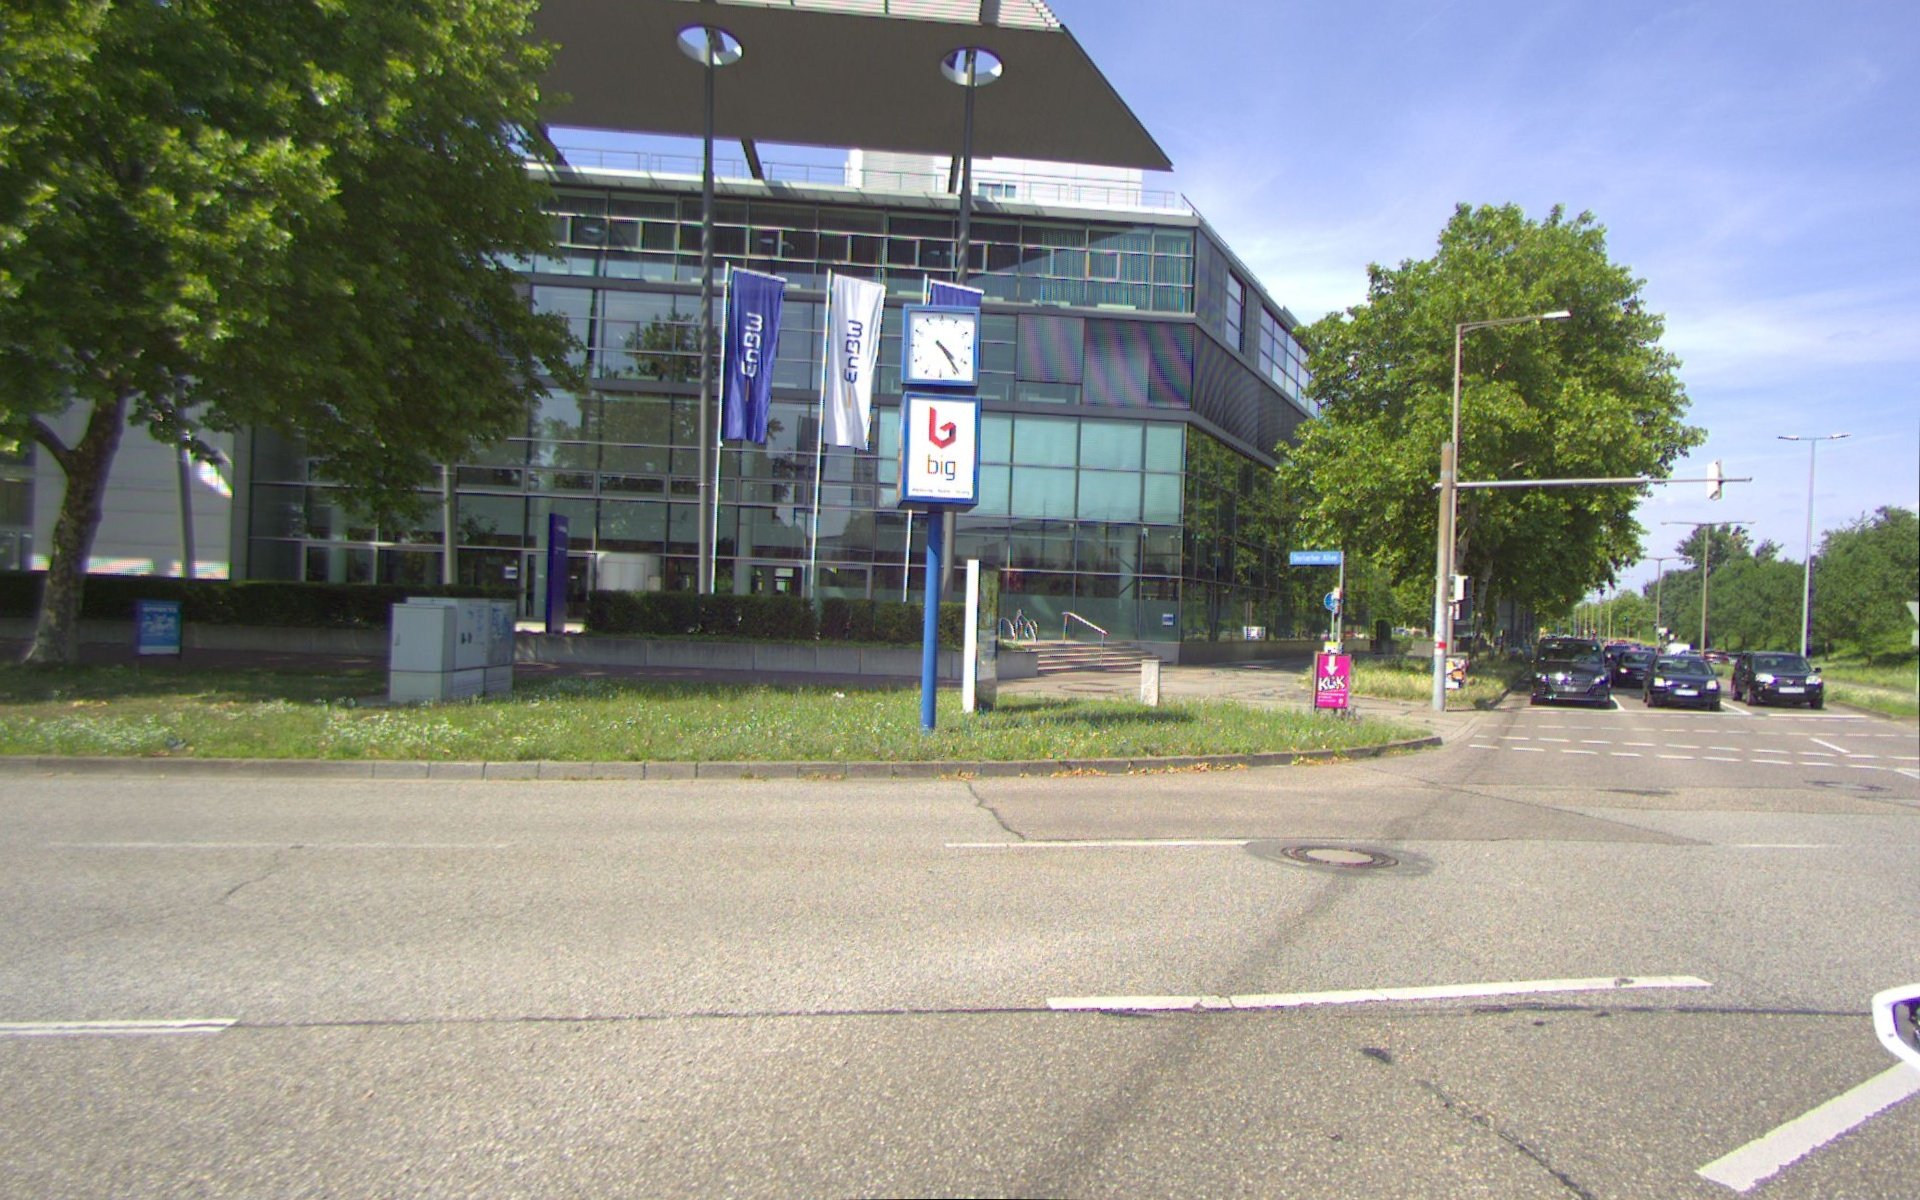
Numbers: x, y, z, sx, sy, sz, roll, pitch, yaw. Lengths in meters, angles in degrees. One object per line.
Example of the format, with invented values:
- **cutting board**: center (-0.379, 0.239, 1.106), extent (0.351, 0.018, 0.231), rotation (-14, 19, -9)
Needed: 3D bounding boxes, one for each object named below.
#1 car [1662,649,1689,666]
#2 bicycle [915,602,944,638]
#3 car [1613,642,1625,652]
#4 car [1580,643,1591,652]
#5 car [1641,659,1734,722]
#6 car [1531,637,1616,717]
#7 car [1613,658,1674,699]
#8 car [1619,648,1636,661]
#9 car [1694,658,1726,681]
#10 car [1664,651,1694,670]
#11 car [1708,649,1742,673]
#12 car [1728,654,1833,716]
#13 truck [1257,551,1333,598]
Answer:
- **car**: center (76.659, 6.155, 107.622), extent (1.965, 1.731, 4.254), rotation (2, -1, 31)
- **bicycle**: center (-1.037, 0.654, 33.590), extent (0.725, 1.126, 1.884), rotation (2, -1, -7)
- **car**: center (138.581, 9.913, 211.280), extent (1.883, 1.870, 3.993), rotation (2, -1, 30)
- **car**: center (136.135, 10.361, 218.724), extent (1.965, 1.884, 3.991), rotation (2, -1, 32)
- **car**: center (20.593, 2.503, 28.573), extent (1.736, 1.495, 3.950), rotation (2, -1, 31)
- **car**: center (17.904, 2.152, 29.441), extent (1.910, 1.945, 5.218), rotation (2, 0, 31)
- **car**: center (27.733, 3.138, 40.879), extent (1.810, 1.481, 4.507), rotation (-1, -3, 31)
- **car**: center (90.019, 7.312, 135.564), extent (1.602, 1.503, 4.041), rotation (4, 0, 30)
- **car**: center (62.664, 5.780, 83.939), extent (1.711, 1.556, 3.991), rotation (3, 1, 31)
- **car**: center (69.919, 5.862, 97.685), extent (1.965, 1.706, 3.992), rotation (2, -1, 31)
- **car**: center (71.199, 5.628, 93.516), extent (1.989, 1.862, 3.991), rotation (3, 1, 31)
- **car**: center (25.508, 2.586, 31.392), extent (1.781, 1.636, 4.483), rotation (1, -1, 30)
- **truck**: center (27.874, -2.002, 84.093), extent (2.623, 3.440, 8.984), rotation (3, -1, -5)
